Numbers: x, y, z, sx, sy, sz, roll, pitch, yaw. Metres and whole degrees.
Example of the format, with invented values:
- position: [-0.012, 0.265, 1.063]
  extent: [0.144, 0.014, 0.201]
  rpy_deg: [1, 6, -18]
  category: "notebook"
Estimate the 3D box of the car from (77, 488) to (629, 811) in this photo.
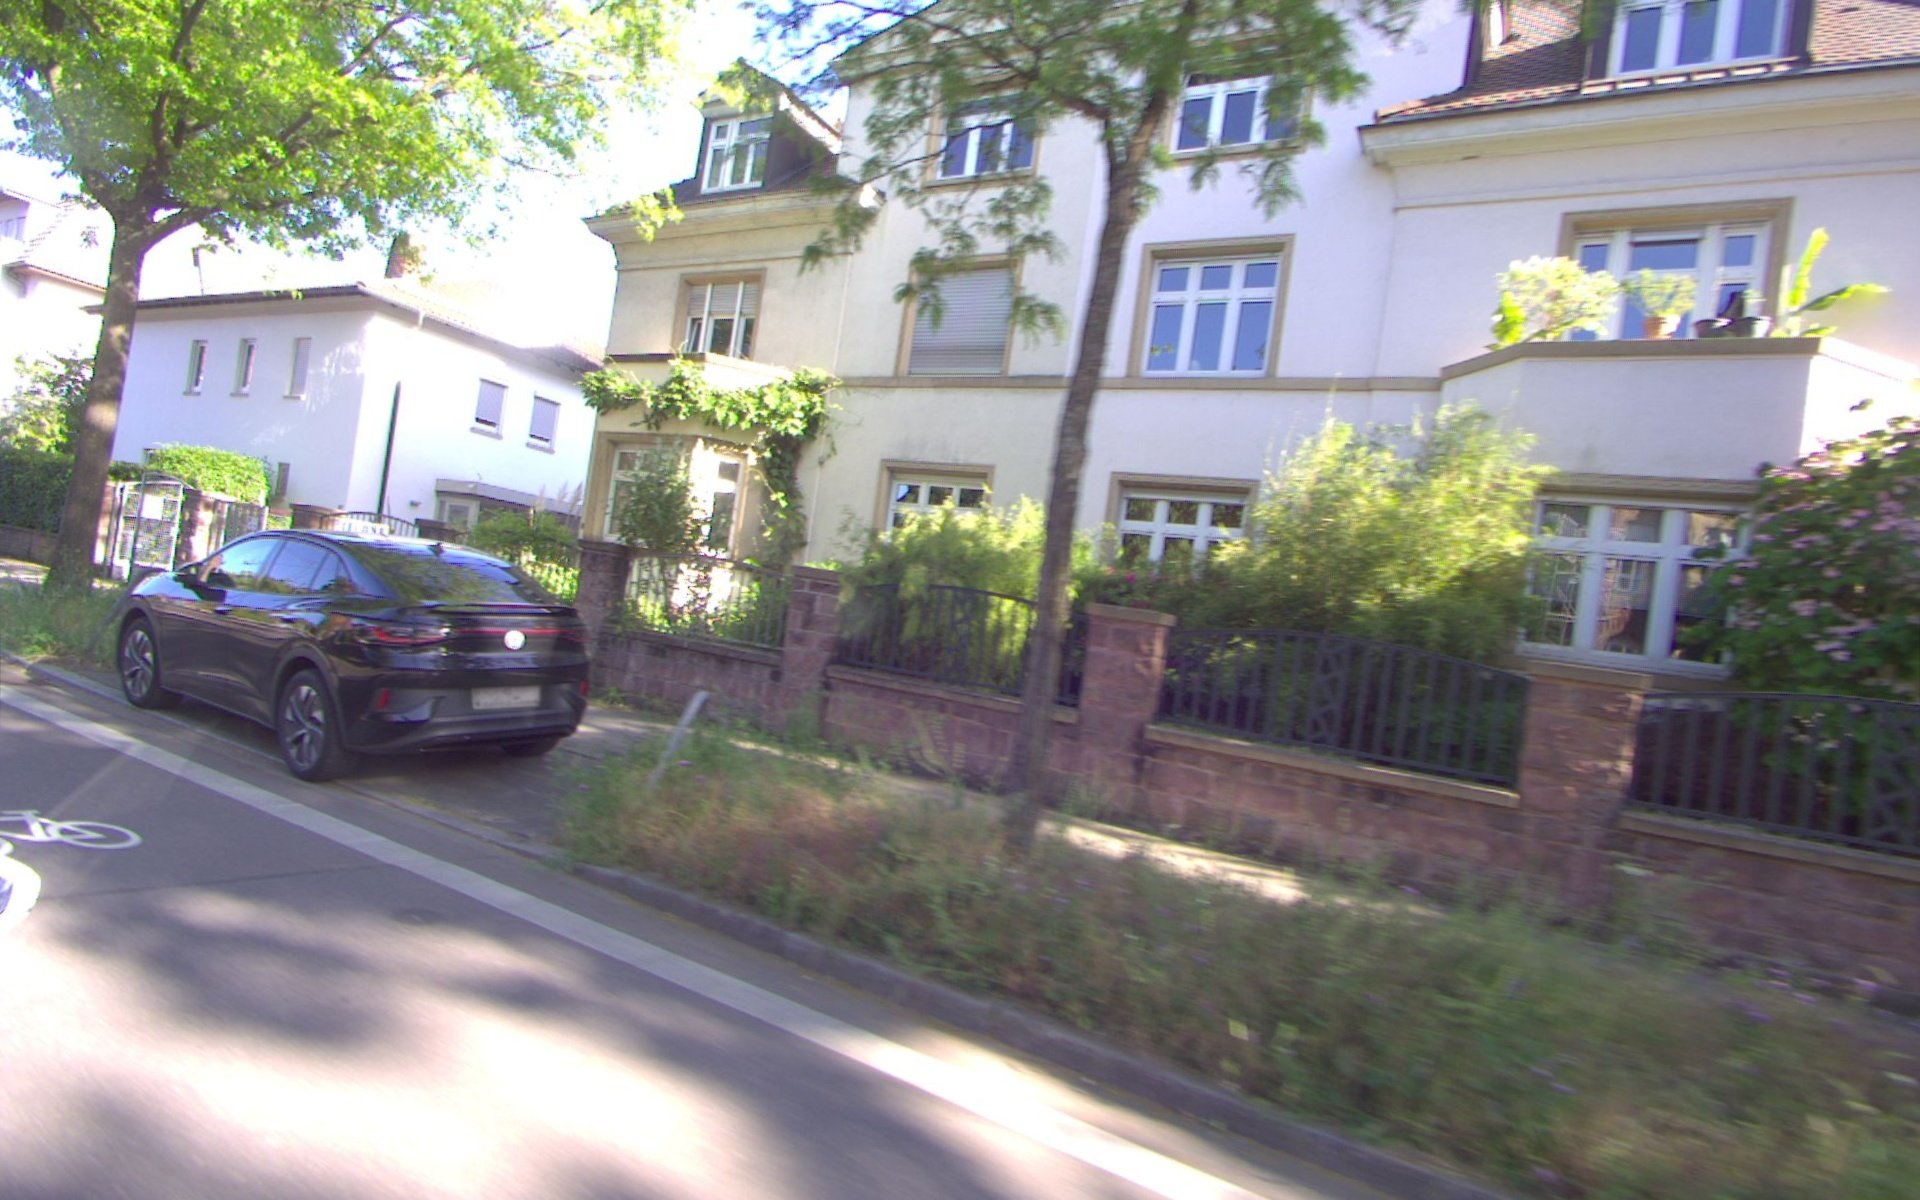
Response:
- position: [-4.997, 0.204, 8.056]
  extent: [4.650, 1.716, 1.805]
  rpy_deg: [8, 2, 32]
  category: "car"

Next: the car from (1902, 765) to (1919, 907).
- position: [9.930, 2.375, 8.570]
  extent: [1.727, 1.444, 3.997]
  rpy_deg: [8, -2, 30]
  category: "car"
